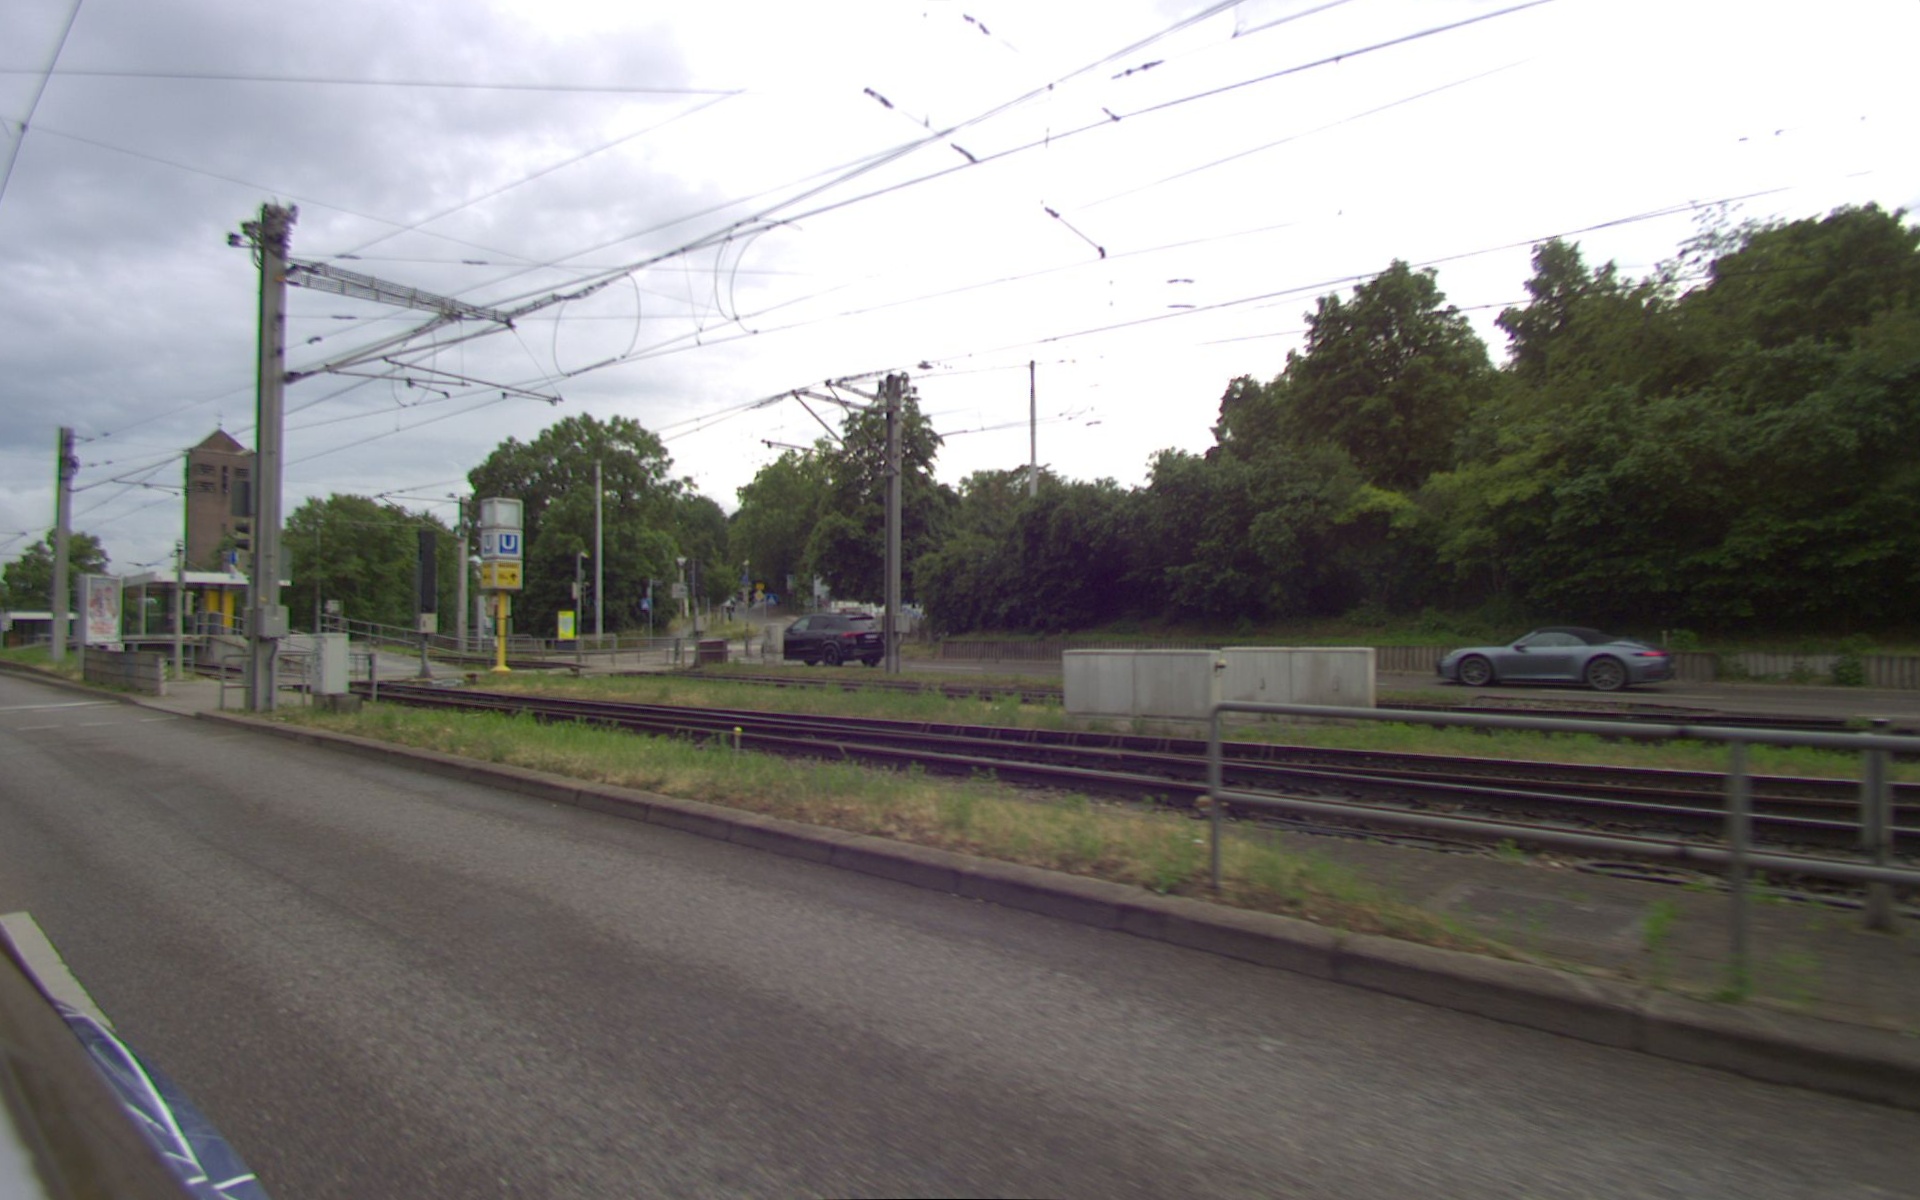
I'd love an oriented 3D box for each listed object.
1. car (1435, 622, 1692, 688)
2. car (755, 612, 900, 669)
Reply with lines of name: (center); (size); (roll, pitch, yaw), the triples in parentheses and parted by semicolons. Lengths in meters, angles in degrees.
car: (12.872, 1.140, 21.748); (4.471, 1.271, 1.907); (-2, -2, 41)
car: (-4.434, 1.318, 33.400); (4.859, 1.752, 2.062); (-2, -2, 41)
